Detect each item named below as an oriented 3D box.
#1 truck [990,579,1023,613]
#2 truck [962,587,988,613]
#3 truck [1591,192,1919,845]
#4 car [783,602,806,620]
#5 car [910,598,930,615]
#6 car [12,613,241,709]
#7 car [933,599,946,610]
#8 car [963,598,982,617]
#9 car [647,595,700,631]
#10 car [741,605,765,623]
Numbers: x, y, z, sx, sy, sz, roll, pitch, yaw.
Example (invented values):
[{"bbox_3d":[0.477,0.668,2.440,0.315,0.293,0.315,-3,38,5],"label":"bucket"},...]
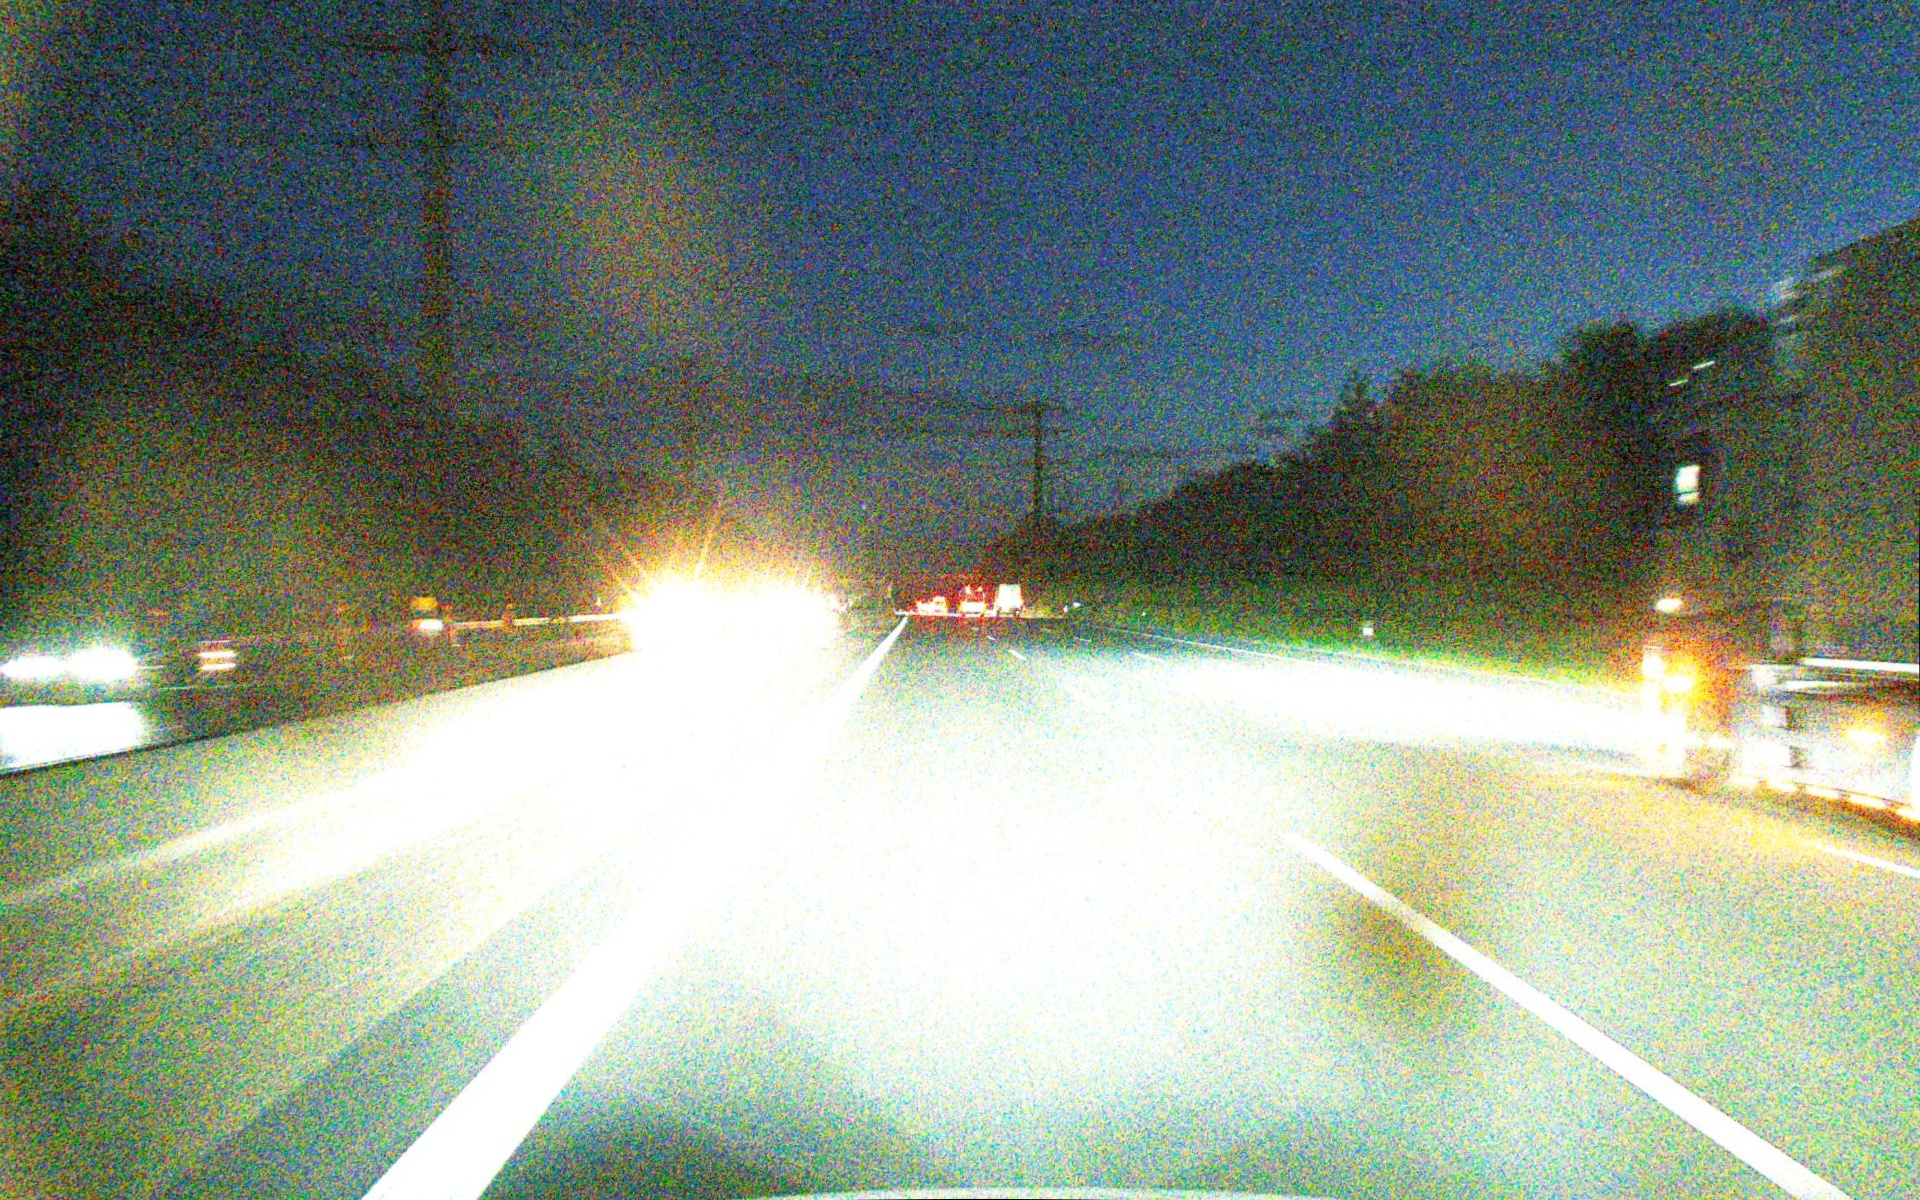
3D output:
[{"bbox_3d":[3.852,-0.353,138.856,2.035,2.738,7.303,2,1,-4],"label":"truck"},{"bbox_3d":[1.960,-0.002,220.984,2.983,3.383,10.138,2,0,-2],"label":"truck"},{"bbox_3d":[7.321,-0.505,11.772,2.538,4.143,7.672,1,0,-1],"label":"truck"},{"bbox_3d":[-14.481,0.979,145.216,1.715,1.504,4.580,-2,0,-3],"label":"car"},{"bbox_3d":[-3.715,0.561,152.384,1.784,1.492,4.246,2,0,-2],"label":"car"},{"bbox_3d":[-14.259,0.982,28.623,1.599,1.418,4.875,-2,0,-2],"label":"car"},{"bbox_3d":[-2.906,0.588,235.071,1.784,1.492,4.246,2,0,-2],"label":"car"},{"bbox_3d":[1.006,0.608,134.716,1.319,1.411,3.500,2,0,-2],"label":"car"},{"bbox_3d":[-12.924,0.564,74.847,1.715,1.504,4.580,-2,0,-3],"label":"car"},{"bbox_3d":[-18.260,1.201,146.004,1.715,1.504,4.580,-2,0,-3],"label":"car"}]
